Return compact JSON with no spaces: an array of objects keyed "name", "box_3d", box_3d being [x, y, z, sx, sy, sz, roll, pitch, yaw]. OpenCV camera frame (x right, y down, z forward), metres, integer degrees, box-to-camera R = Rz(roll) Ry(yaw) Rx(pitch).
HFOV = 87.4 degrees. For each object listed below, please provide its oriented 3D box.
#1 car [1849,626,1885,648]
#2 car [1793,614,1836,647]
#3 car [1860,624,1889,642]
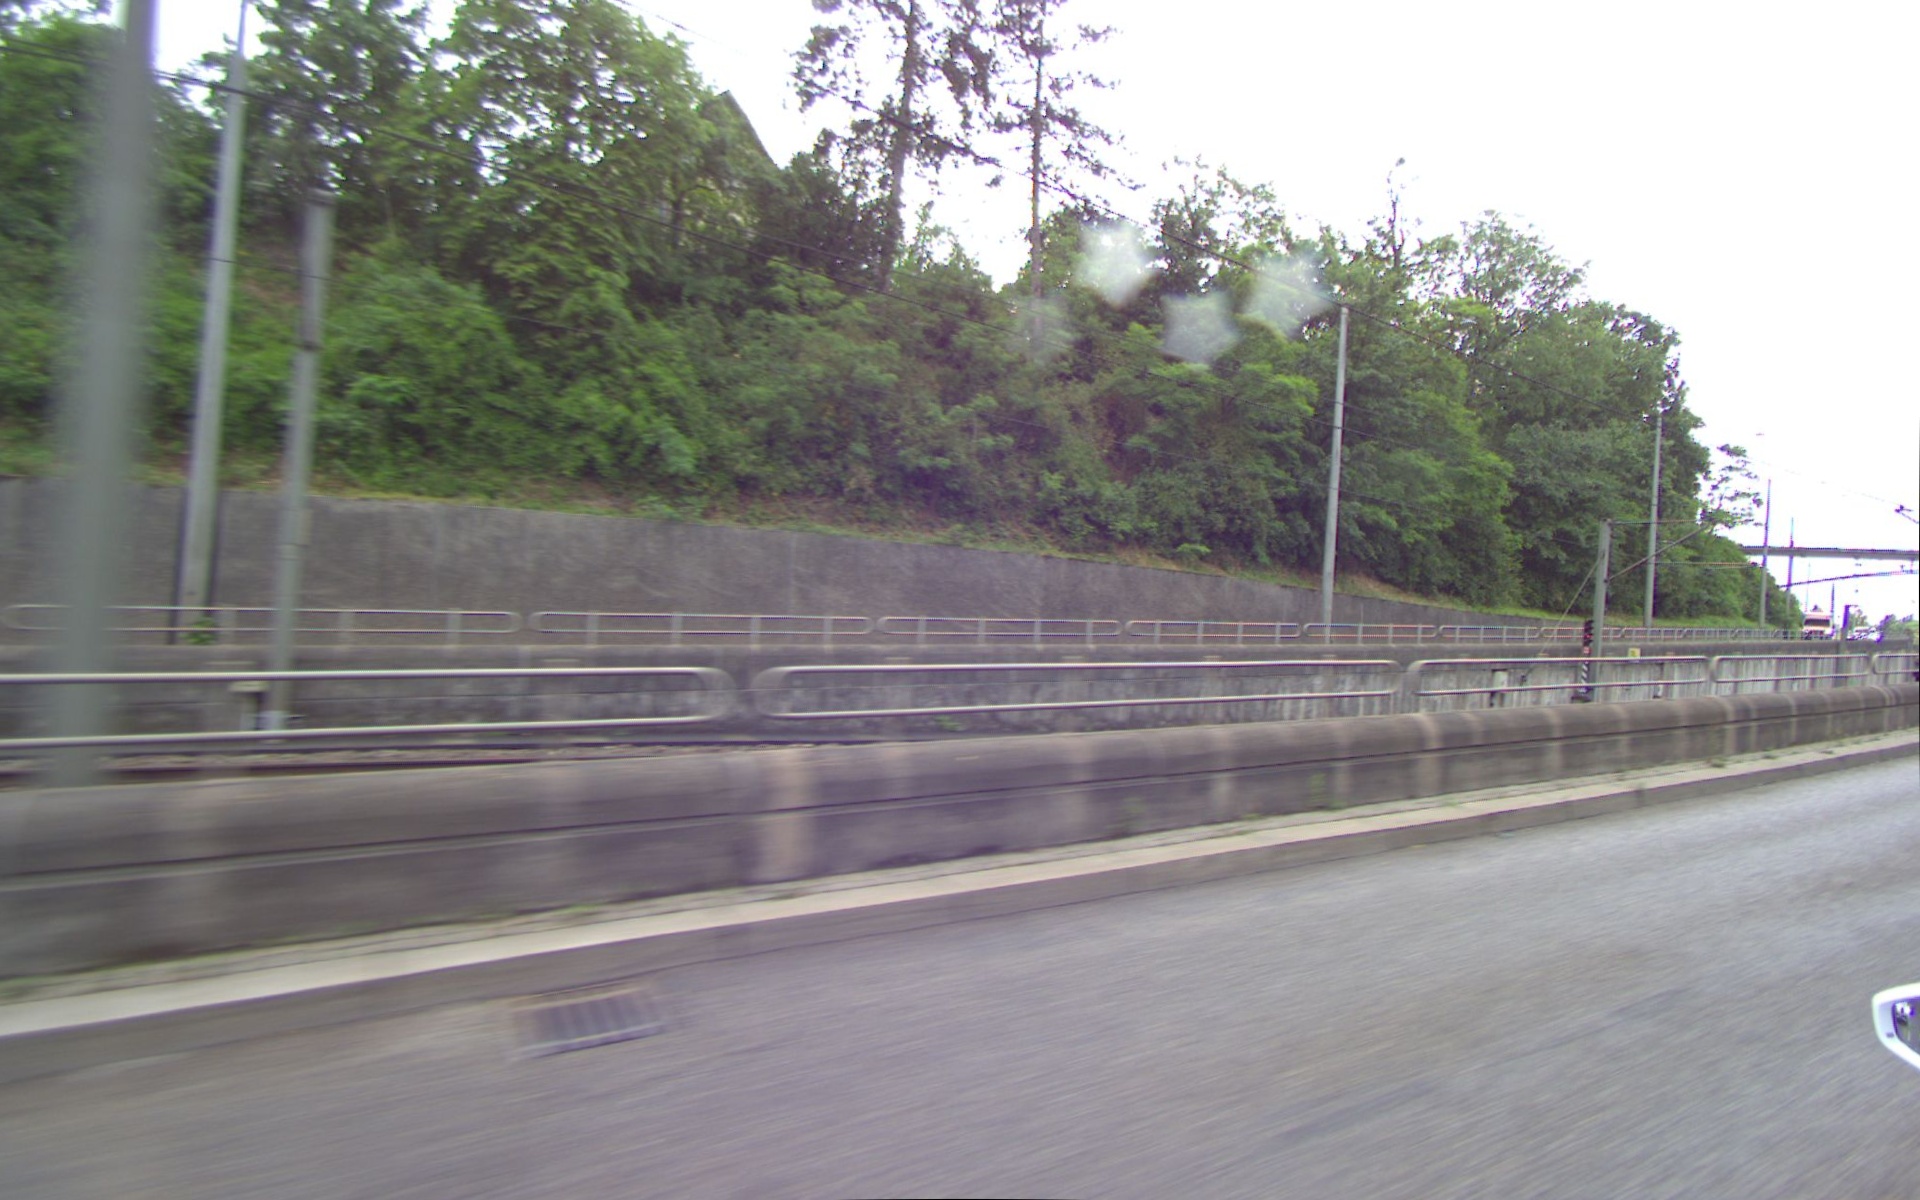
[{"name":"car","box_3d":[73.120,2.976,80.979,4.082,1.726,1.800,3,-1,-43]},{"name":"car","box_3d":[74.250,2.678,87.225,6.301,2.770,2.162,3,-1,-43]},{"name":"car","box_3d":[93.168,3.385,102.313,4.115,1.773,1.941,3,-2,-45]}]
